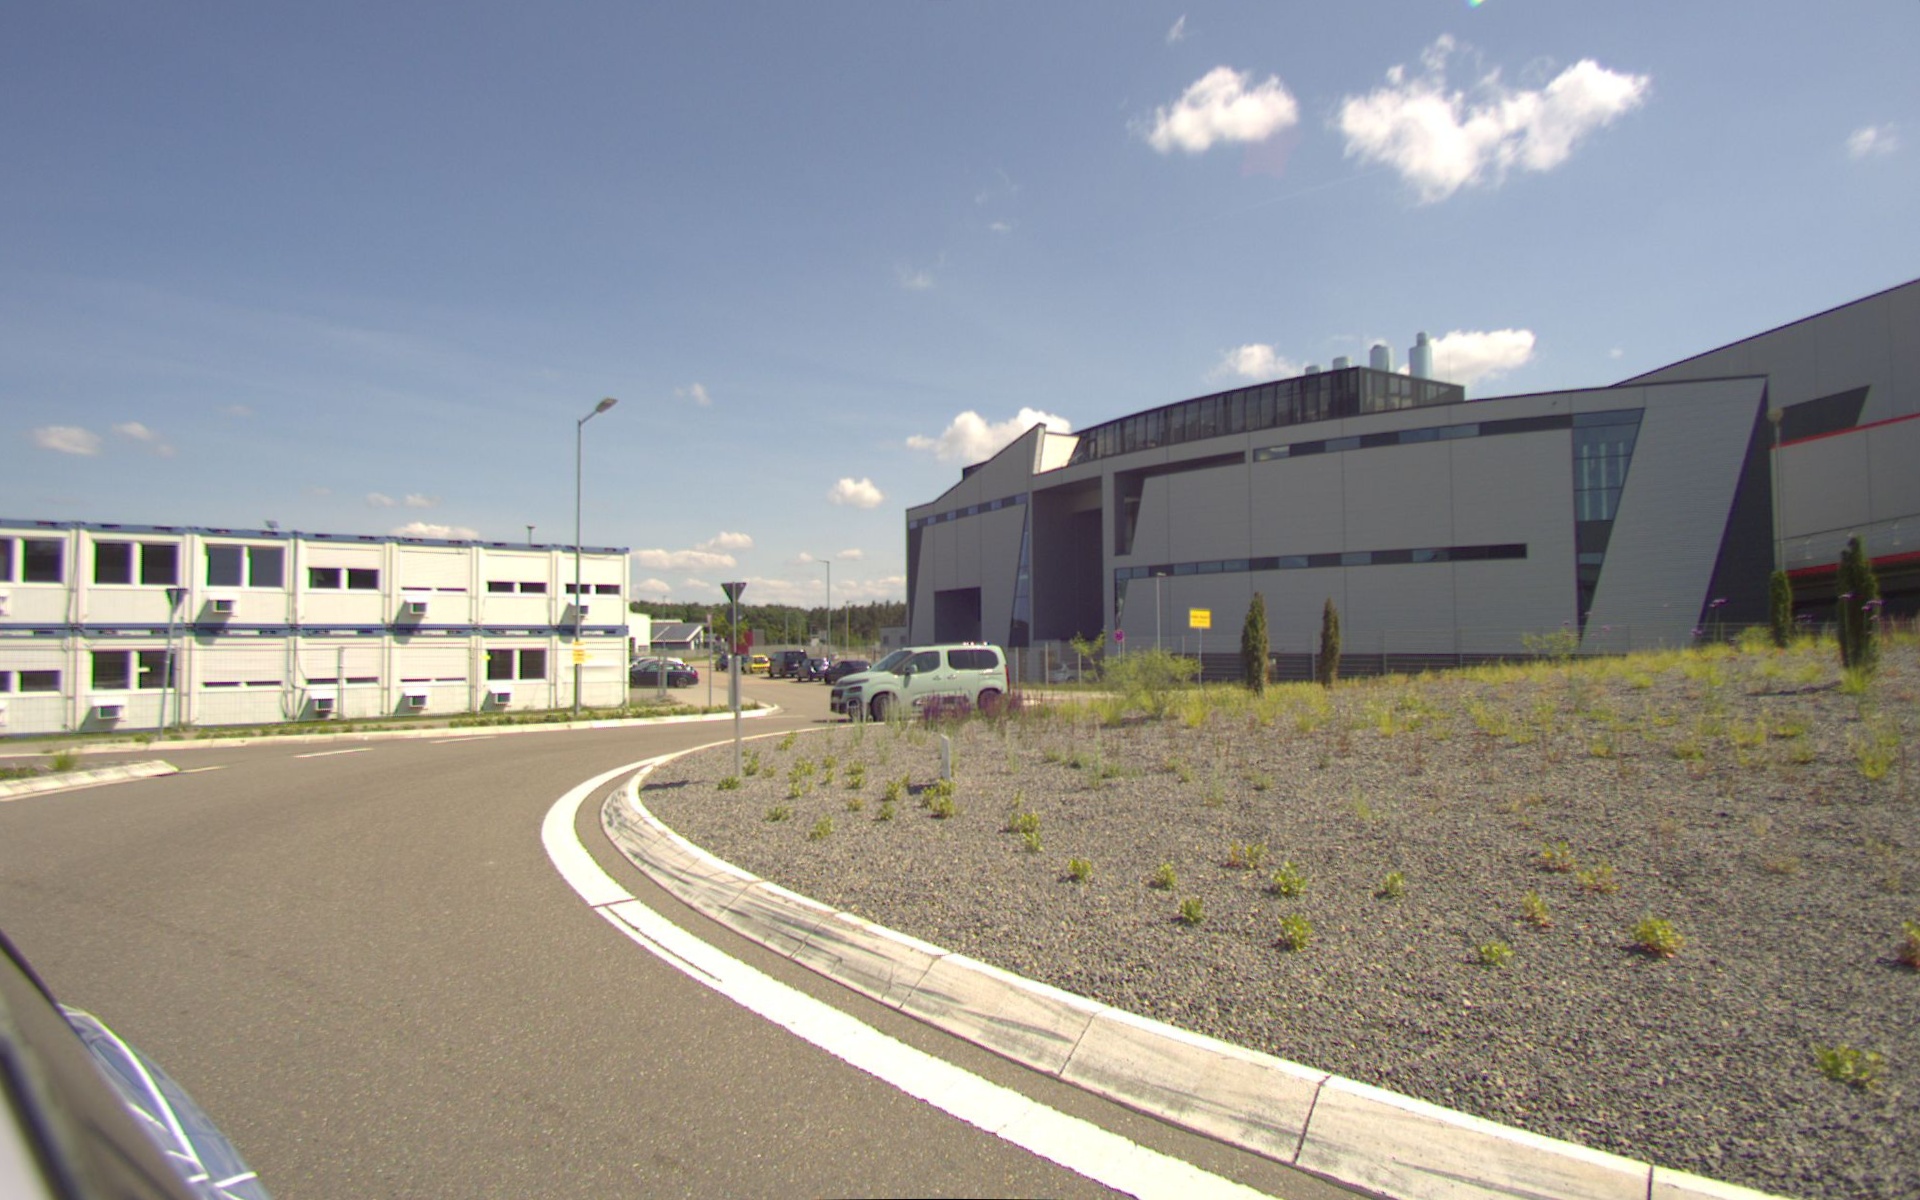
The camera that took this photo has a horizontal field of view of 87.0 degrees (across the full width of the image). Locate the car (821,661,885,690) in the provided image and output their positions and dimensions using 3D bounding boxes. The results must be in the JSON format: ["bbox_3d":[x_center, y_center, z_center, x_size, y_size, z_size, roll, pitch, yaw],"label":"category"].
[{"bbox_3d":[-6.329,4.364,59.288,1.966,1.561,4.325,1,-3,-33],"label":"car"}]

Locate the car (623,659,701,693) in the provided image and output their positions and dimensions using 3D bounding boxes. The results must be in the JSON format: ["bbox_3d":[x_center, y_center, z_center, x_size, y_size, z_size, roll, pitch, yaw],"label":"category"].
[{"bbox_3d":[-17.422,4.403,59.062,4.239,1.881,2.006,0,-3,-20],"label":"car"}]

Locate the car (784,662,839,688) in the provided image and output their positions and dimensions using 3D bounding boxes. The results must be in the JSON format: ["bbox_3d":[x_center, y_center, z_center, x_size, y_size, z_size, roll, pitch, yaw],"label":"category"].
[{"bbox_3d":[-9.649,4.816,65.449,1.966,1.561,4.326,1,-3,-32],"label":"car"}]

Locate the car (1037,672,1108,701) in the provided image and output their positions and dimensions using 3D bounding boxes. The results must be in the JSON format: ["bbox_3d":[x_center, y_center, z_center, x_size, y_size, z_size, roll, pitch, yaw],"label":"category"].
[{"bbox_3d":[7.342,5.583,65.803,4.241,1.703,2.006,1,-3,-32],"label":"car"}]

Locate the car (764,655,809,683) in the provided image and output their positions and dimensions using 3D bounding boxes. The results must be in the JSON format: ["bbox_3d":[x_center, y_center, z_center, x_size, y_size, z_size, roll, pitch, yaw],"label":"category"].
[{"bbox_3d":[-12.323,4.850,71.813,1.965,1.845,4.328,1,-3,-27],"label":"car"}]

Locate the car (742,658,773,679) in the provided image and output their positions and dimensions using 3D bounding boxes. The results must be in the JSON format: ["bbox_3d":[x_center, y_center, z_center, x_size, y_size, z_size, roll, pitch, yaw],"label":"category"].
[{"bbox_3d":[-16.344,5.525,81.418,1.966,1.561,4.327,0,-3,-17],"label":"car"}]

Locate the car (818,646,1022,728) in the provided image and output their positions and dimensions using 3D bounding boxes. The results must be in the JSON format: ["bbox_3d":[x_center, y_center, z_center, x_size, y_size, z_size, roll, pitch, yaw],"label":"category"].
[{"bbox_3d":[-0.967,2.047,24.535,4.481,1.793,2.006,1,-4,-25],"label":"car"}]

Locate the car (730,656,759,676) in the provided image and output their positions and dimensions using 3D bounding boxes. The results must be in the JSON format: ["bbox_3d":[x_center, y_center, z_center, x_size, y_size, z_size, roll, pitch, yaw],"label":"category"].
[{"bbox_3d":[-18.357,5.586,86.063,1.966,1.561,4.327,0,-3,-17],"label":"car"}]

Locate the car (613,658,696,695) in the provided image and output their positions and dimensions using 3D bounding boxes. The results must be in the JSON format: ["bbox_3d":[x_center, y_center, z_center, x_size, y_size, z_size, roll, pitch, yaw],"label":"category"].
[{"bbox_3d":[-16.701,4.126,55.236,4.239,1.881,2.006,0,-3,-20],"label":"car"}]

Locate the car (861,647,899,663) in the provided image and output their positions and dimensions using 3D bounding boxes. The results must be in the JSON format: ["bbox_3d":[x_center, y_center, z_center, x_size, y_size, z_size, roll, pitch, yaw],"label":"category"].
[{"bbox_3d":[-9.874,6.781,124.924,4.241,1.881,2.006,1,-3,-32],"label":"car"}]
